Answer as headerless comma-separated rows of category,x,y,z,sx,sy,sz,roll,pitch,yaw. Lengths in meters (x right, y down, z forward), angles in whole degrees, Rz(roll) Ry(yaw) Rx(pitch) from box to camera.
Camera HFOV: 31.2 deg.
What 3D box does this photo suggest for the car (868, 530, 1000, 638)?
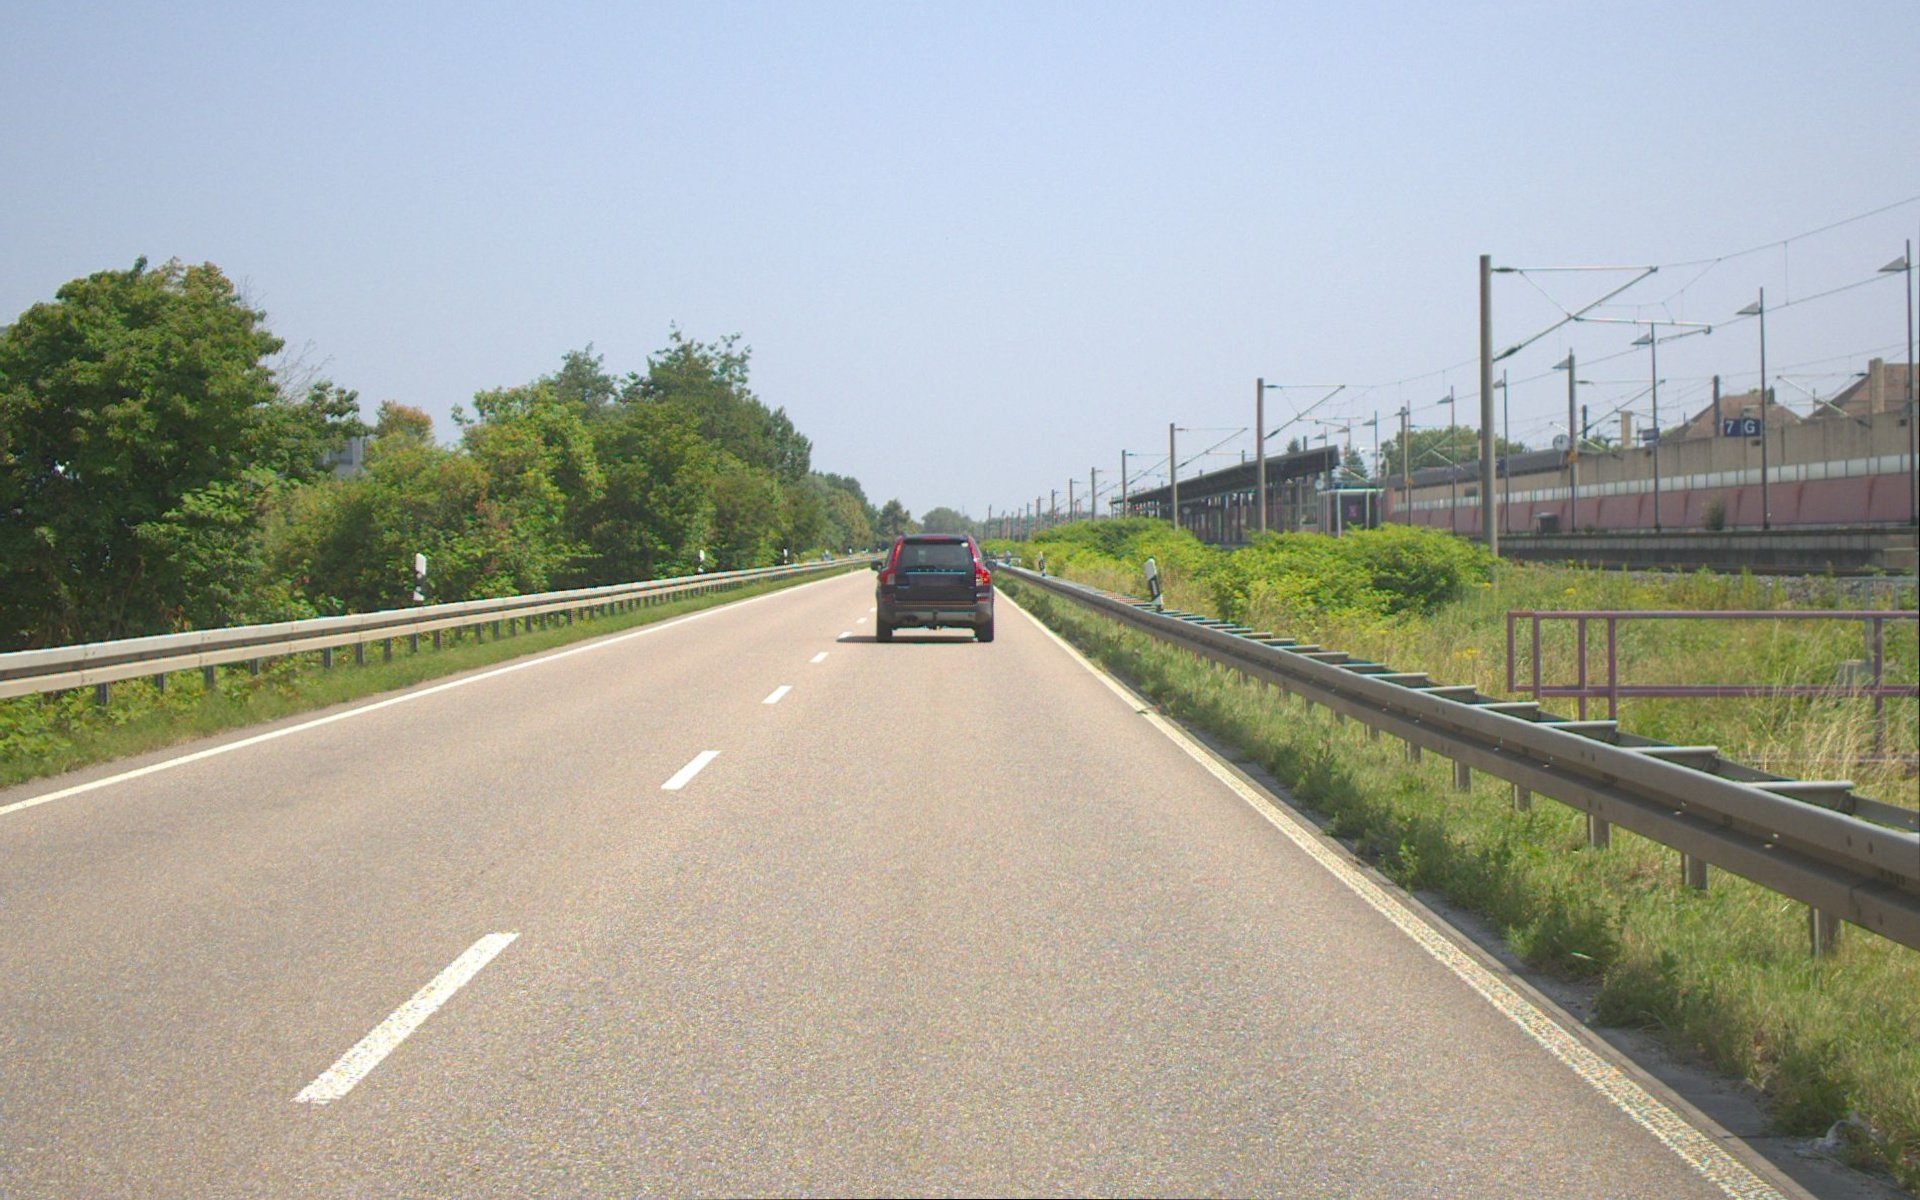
car,-0.458,-0.280,55.740,1.993,1.694,4.001,0,1,-3
